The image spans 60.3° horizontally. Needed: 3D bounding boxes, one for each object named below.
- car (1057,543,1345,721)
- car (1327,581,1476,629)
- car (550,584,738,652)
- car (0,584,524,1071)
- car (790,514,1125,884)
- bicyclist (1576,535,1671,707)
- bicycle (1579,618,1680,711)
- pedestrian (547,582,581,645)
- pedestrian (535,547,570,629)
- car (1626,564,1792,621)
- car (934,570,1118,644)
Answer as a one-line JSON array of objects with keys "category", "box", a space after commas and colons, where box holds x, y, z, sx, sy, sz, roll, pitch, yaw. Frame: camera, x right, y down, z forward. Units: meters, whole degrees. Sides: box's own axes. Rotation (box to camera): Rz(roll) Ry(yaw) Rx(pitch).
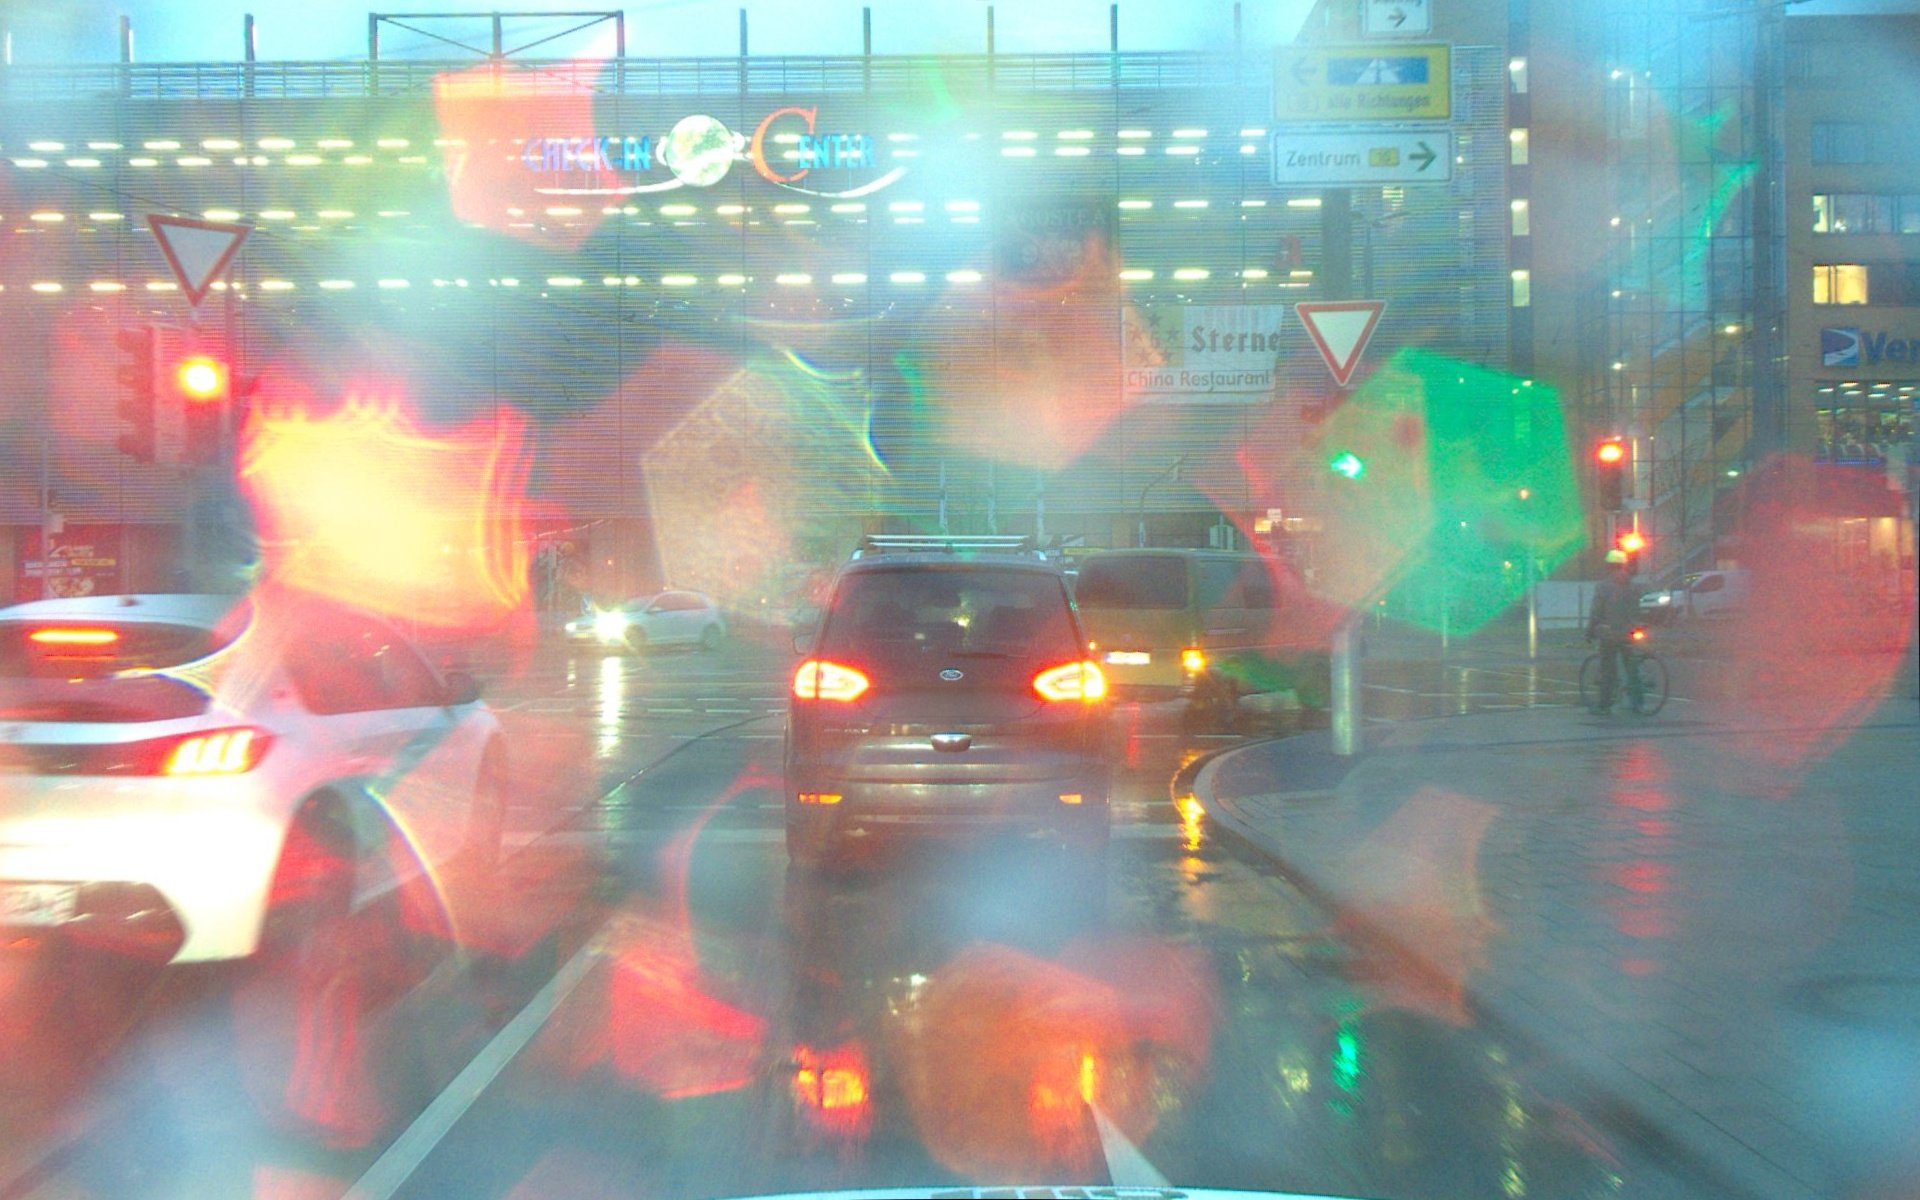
[{"category": "car", "box": [2.968, 0.312, 19.473, 1.809, 1.837, 4.478, -1, 0, 30]}, {"category": "car", "box": [14.129, 0.151, 52.990, 4.327, 1.470, 1.626, -1, 0, -9]}, {"category": "car", "box": [-7.424, 0.384, 39.190, 1.828, 1.512, 4.326, -1, 0, 35]}, {"category": "car", "box": [-3.138, 0.695, 7.010, 1.723, 1.489, 3.915, 0, 0, -3]}, {"category": "car", "box": [0.052, 0.491, 10.261, 1.639, 1.811, 4.001, 1, 0, 2]}, {"category": "bicyclist", "box": [7.635, 0.233, 19.074, 0.774, 1.923, 0.990, -1, 0, 8]}, {"category": "bicycle", "box": [7.715, 0.722, 19.128, 0.641, 0.990, 1.868, -1, 0, 8]}, {"category": "pedestrian", "box": [-15.858, 0.544, 66.268, 1.087, 2.482, 0.966, 1, -1, 2]}, {"category": "pedestrian", "box": [-14.938, -0.437, 60.648, 0.943, 2.976, 1.114, 1, -1, 2]}, {"category": "car", "box": [24.323, -0.247, 53.819, 4.499, 1.749, 1.930, -1, 0, 2]}, {"category": "car", "box": [2.041, 0.179, 50.013, 5.600, 2.095, 1.928, -1, 0, -37]}]
